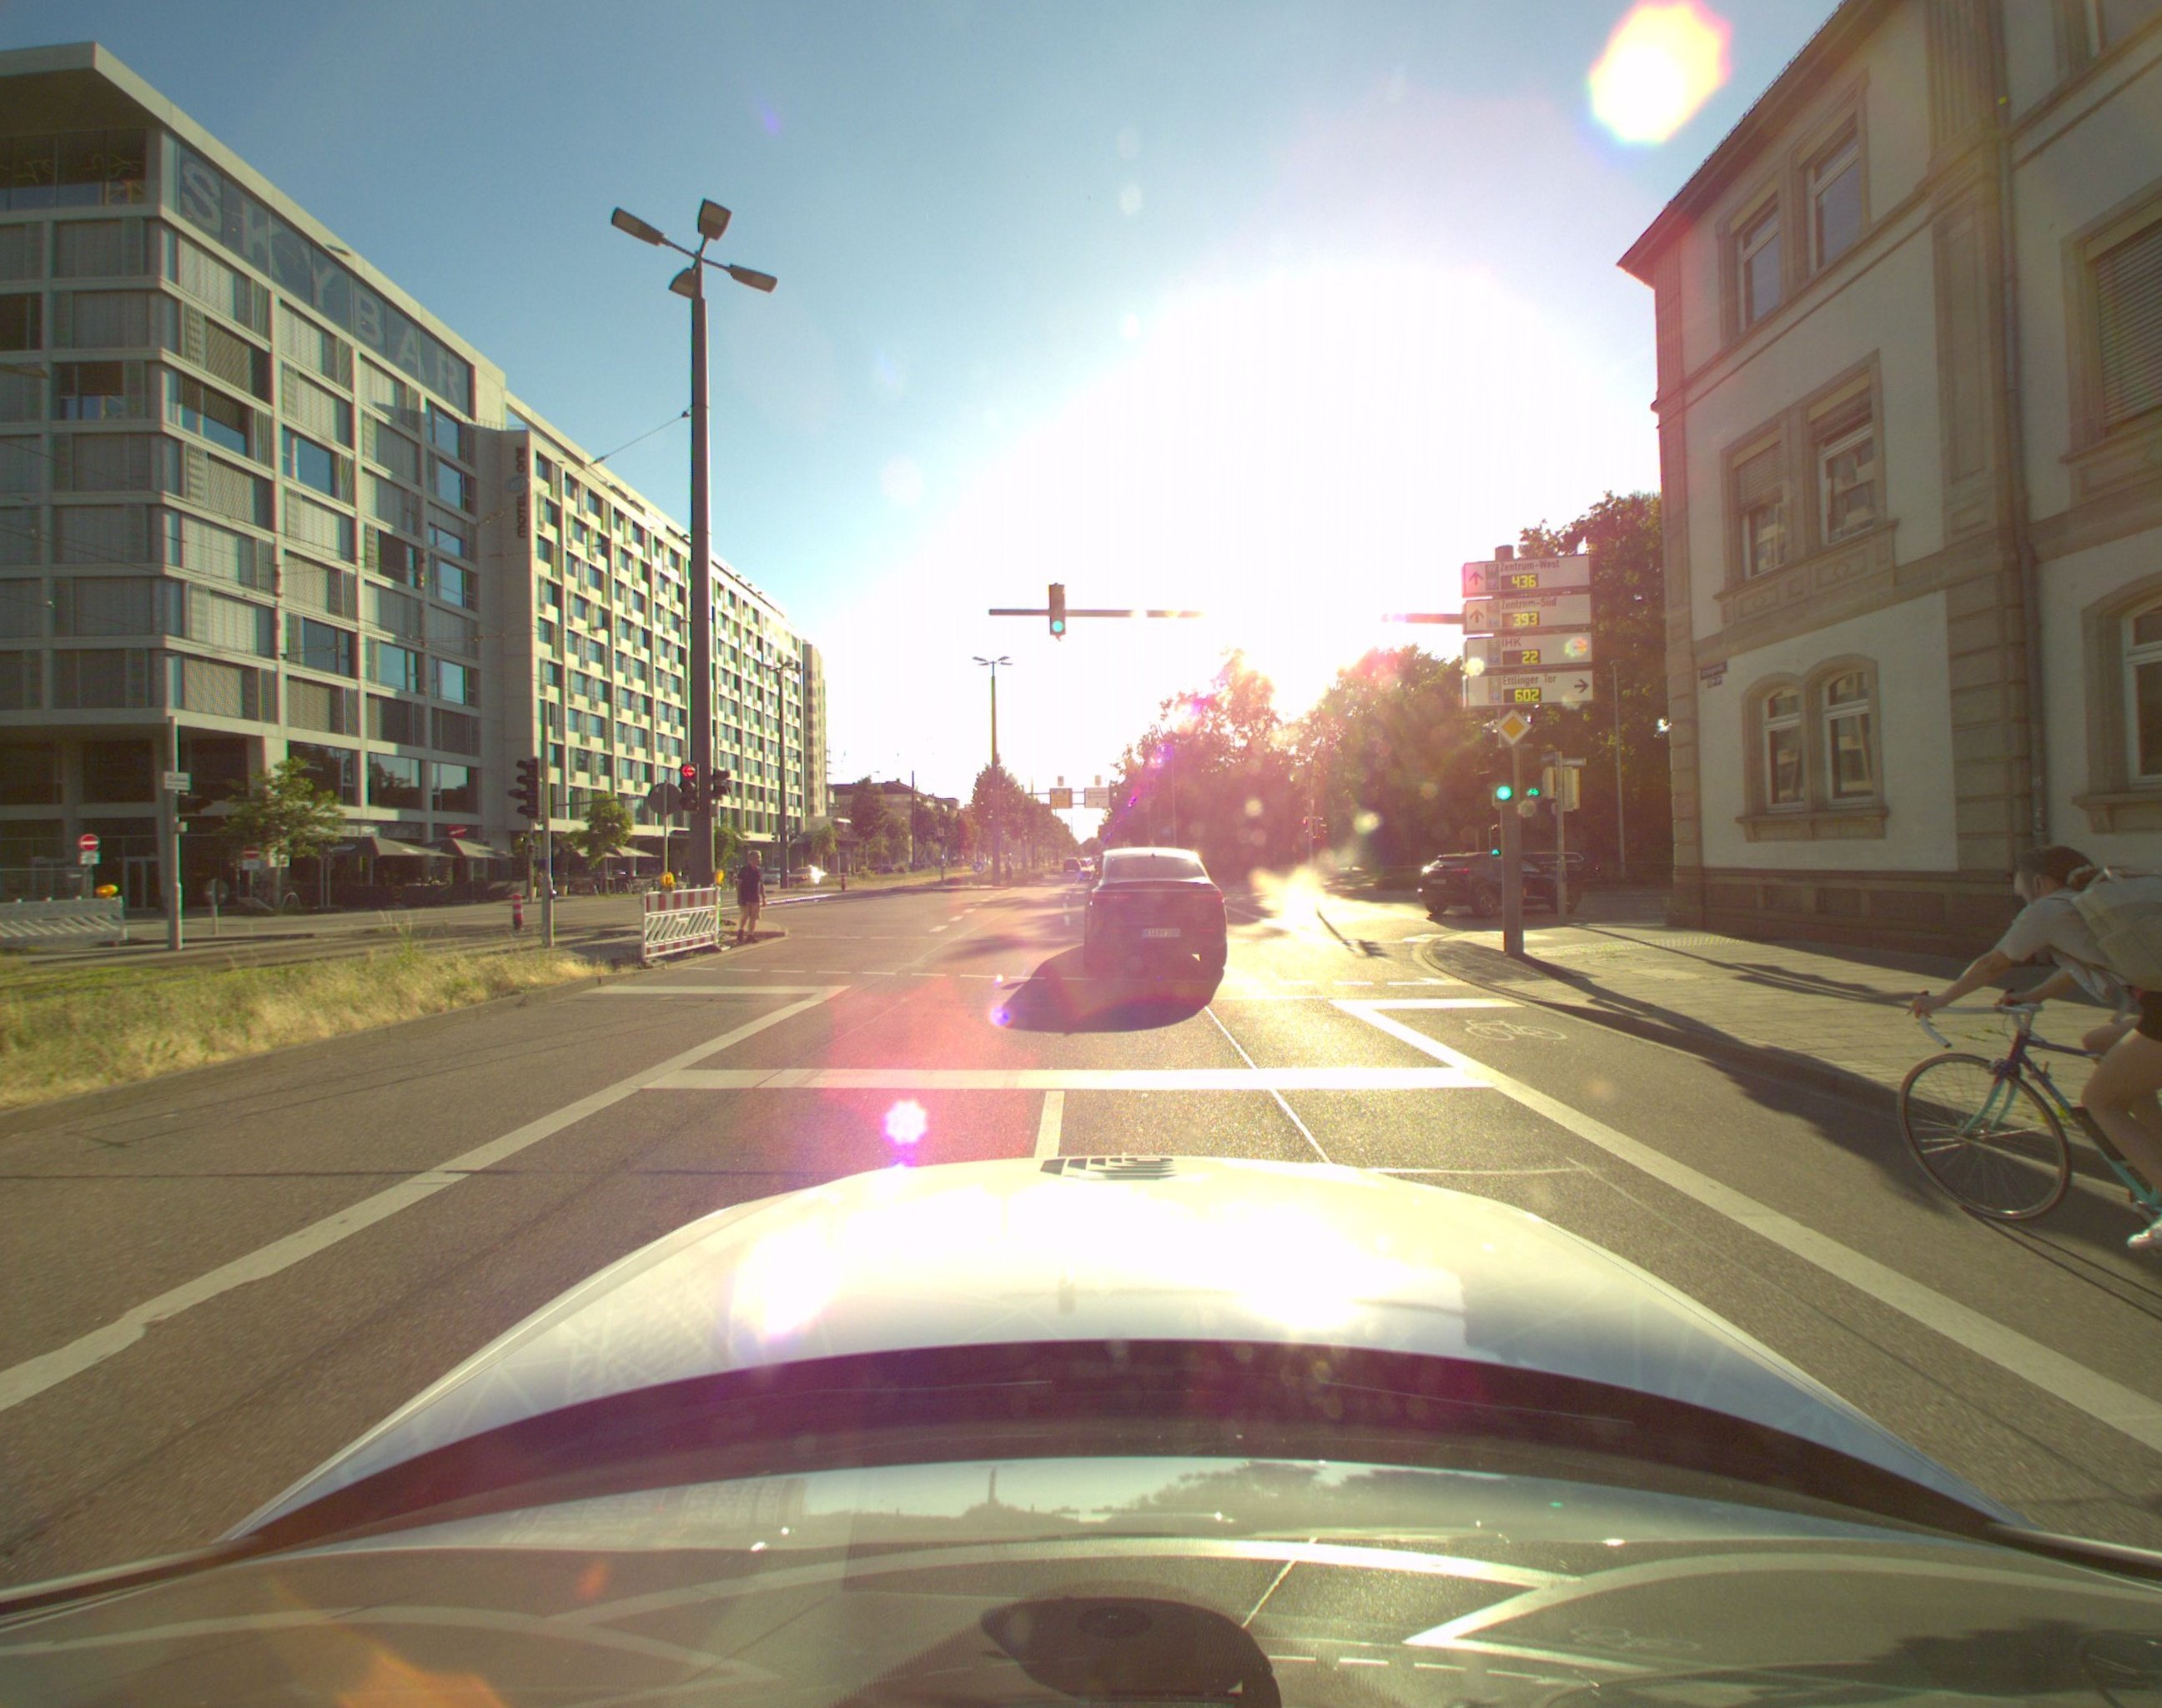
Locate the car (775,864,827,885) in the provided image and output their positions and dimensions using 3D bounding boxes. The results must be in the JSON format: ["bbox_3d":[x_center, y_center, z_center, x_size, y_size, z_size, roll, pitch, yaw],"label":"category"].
[{"bbox_3d":[-19.430,1.390,56.825,1.885,1.343,4.850,-1,0,1],"label":"car"}]

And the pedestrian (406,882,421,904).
[{"bbox_3d":[-38.199,2.229,46.612,0.430,1.222,0.497,-1,0,1],"label":"pedestrian"}]

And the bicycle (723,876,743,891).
[{"bbox_3d":[-27.371,2.334,64.133,0.622,1.067,2.079,-1,0,2],"label":"bicycle"}]

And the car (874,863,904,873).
[{"bbox_3d":[-29.163,2.137,123.781,1.764,1.453,4.024,0,0,43],"label":"car"}]

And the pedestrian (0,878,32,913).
[{"bbox_3d":[-46.490,1.794,35.550,0.584,1.498,0.576,-1,-1,-2],"label":"pedestrian"}]

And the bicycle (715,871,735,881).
[{"bbox_3d":[-36.649,2.268,83.744,1.801,0.905,0.511,-1,0,-6],"label":"bicycle"}]

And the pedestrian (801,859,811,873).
[{"bbox_3d":[-34.062,1.502,100.998,0.840,1.653,0.970,-1,0,2],"label":"pedestrian"}]

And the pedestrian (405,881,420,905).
[{"bbox_3d":[-34.399,1.998,41.898,0.363,1.194,0.433,-1,0,-2],"label":"pedestrian"}]

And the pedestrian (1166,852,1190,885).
[{"bbox_3d":[5.441,0.825,45.636,0.863,1.802,0.898,-3,0,-34],"label":"pedestrian"}]

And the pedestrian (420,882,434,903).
[{"bbox_3d":[-38.163,2.232,47.520,0.430,1.222,0.497,-1,0,1],"label":"pedestrian"}]

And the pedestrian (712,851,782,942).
[{"bbox_3d":[-6.289,0.783,15.345,0.915,1.649,0.770,-2,-1,26],"label":"pedestrian"}]

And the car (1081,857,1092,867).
[{"bbox_3d":[0.916,1.375,138.979,1.879,1.580,4.000,0,0,0],"label":"car"}]

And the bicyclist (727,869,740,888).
[{"bbox_3d":[-27.366,1.957,64.154,0.622,1.465,0.851,-1,0,1],"label":"bicyclist"}]

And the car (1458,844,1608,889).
[{"bbox_3d":[16.062,0.462,29.243,4.545,1.474,1.914,-2,-1,25],"label":"car"}]

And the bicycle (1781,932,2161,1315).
[{"bbox_3d":[3.793,0.953,3.190,0.519,1.097,1.843,-1,0,1],"label":"bicycle"}]

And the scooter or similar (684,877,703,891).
[{"bbox_3d":[-29.757,2.299,62.588,1.239,1.019,0.435,-2,0,1],"label":"scooter or similar"}]

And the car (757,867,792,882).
[{"bbox_3d":[-29.365,1.971,78.081,1.750,1.328,4.001,0,0,1],"label":"car"}]

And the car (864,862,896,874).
[{"bbox_3d":[-28.963,2.026,117.308,4.117,1.601,1.730,2,0,-40],"label":"car"}]

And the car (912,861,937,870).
[{"bbox_3d":[-28.004,2.051,145.868,4.021,1.563,1.976,0,0,-41],"label":"car"}]

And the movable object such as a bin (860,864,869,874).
[{"bbox_3d":[-29.684,2.090,111.798,0.851,1.358,0.943,-2,-1,15],"label":"movable object such as a bin"}]

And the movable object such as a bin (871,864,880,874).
[{"bbox_3d":[-28.295,2.090,112.110,0.851,1.280,0.943,-2,0,15],"label":"movable object such as a bin"}]

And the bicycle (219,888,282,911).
[{"bbox_3d":[-38.230,2.096,37.525,0.616,0.936,2.216,-1,0,1],"label":"bicycle"}]

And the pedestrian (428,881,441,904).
[{"bbox_3d":[-33.947,2.001,42.764,0.363,1.194,0.433,-1,0,-2],"label":"pedestrian"}]

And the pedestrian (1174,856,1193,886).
[{"bbox_3d":[5.642,0.931,44.830,0.766,1.636,0.767,-3,0,-9],"label":"pedestrian"}]

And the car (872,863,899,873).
[{"bbox_3d":[-29.036,2.059,120.927,3.644,1.523,1.602,1,-1,-40],"label":"car"}]

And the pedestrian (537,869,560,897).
[{"bbox_3d":[-33.482,1.841,51.188,0.864,1.721,0.806,-1,0,10],"label":"pedestrian"}]

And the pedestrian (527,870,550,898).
[{"bbox_3d":[-33.576,1.839,50.395,0.864,1.721,0.806,-1,0,10],"label":"pedestrian"}]

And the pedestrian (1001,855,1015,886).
[{"bbox_3d":[-4.130,0.933,46.157,0.595,1.699,0.715,-1,0,6],"label":"pedestrian"}]

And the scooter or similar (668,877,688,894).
[{"bbox_3d":[-29.695,2.314,60.025,1.239,1.172,0.406,-2,0,1],"label":"scooter or similar"}]

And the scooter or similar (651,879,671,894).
[{"bbox_3d":[-29.932,2.286,58.045,1.239,1.019,0.435,-2,0,1],"label":"scooter or similar"}]

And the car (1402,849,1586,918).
[{"bbox_3d":[10.301,0.676,20.343,4.061,1.527,1.889,-1,0,-22],"label":"car"}]

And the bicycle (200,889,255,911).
[{"bbox_3d":[-39.176,2.096,37.409,0.533,0.936,1.901,-1,0,1],"label":"bicycle"}]

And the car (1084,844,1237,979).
[{"bbox_3d":[1.051,0.733,12.601,1.987,1.734,4.000,0,0,0],"label":"car"}]

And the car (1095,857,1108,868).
[{"bbox_3d":[3.284,1.343,131.311,1.879,1.580,4.000,0,0,0],"label":"car"}]

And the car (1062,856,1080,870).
[{"bbox_3d":[-1.127,1.024,93.211,1.879,1.580,4.000,0,0,0],"label":"car"}]

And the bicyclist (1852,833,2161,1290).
[{"bbox_3d":[3.803,0.673,3.176,0.550,1.491,1.081,-1,0,1],"label":"bicyclist"}]
